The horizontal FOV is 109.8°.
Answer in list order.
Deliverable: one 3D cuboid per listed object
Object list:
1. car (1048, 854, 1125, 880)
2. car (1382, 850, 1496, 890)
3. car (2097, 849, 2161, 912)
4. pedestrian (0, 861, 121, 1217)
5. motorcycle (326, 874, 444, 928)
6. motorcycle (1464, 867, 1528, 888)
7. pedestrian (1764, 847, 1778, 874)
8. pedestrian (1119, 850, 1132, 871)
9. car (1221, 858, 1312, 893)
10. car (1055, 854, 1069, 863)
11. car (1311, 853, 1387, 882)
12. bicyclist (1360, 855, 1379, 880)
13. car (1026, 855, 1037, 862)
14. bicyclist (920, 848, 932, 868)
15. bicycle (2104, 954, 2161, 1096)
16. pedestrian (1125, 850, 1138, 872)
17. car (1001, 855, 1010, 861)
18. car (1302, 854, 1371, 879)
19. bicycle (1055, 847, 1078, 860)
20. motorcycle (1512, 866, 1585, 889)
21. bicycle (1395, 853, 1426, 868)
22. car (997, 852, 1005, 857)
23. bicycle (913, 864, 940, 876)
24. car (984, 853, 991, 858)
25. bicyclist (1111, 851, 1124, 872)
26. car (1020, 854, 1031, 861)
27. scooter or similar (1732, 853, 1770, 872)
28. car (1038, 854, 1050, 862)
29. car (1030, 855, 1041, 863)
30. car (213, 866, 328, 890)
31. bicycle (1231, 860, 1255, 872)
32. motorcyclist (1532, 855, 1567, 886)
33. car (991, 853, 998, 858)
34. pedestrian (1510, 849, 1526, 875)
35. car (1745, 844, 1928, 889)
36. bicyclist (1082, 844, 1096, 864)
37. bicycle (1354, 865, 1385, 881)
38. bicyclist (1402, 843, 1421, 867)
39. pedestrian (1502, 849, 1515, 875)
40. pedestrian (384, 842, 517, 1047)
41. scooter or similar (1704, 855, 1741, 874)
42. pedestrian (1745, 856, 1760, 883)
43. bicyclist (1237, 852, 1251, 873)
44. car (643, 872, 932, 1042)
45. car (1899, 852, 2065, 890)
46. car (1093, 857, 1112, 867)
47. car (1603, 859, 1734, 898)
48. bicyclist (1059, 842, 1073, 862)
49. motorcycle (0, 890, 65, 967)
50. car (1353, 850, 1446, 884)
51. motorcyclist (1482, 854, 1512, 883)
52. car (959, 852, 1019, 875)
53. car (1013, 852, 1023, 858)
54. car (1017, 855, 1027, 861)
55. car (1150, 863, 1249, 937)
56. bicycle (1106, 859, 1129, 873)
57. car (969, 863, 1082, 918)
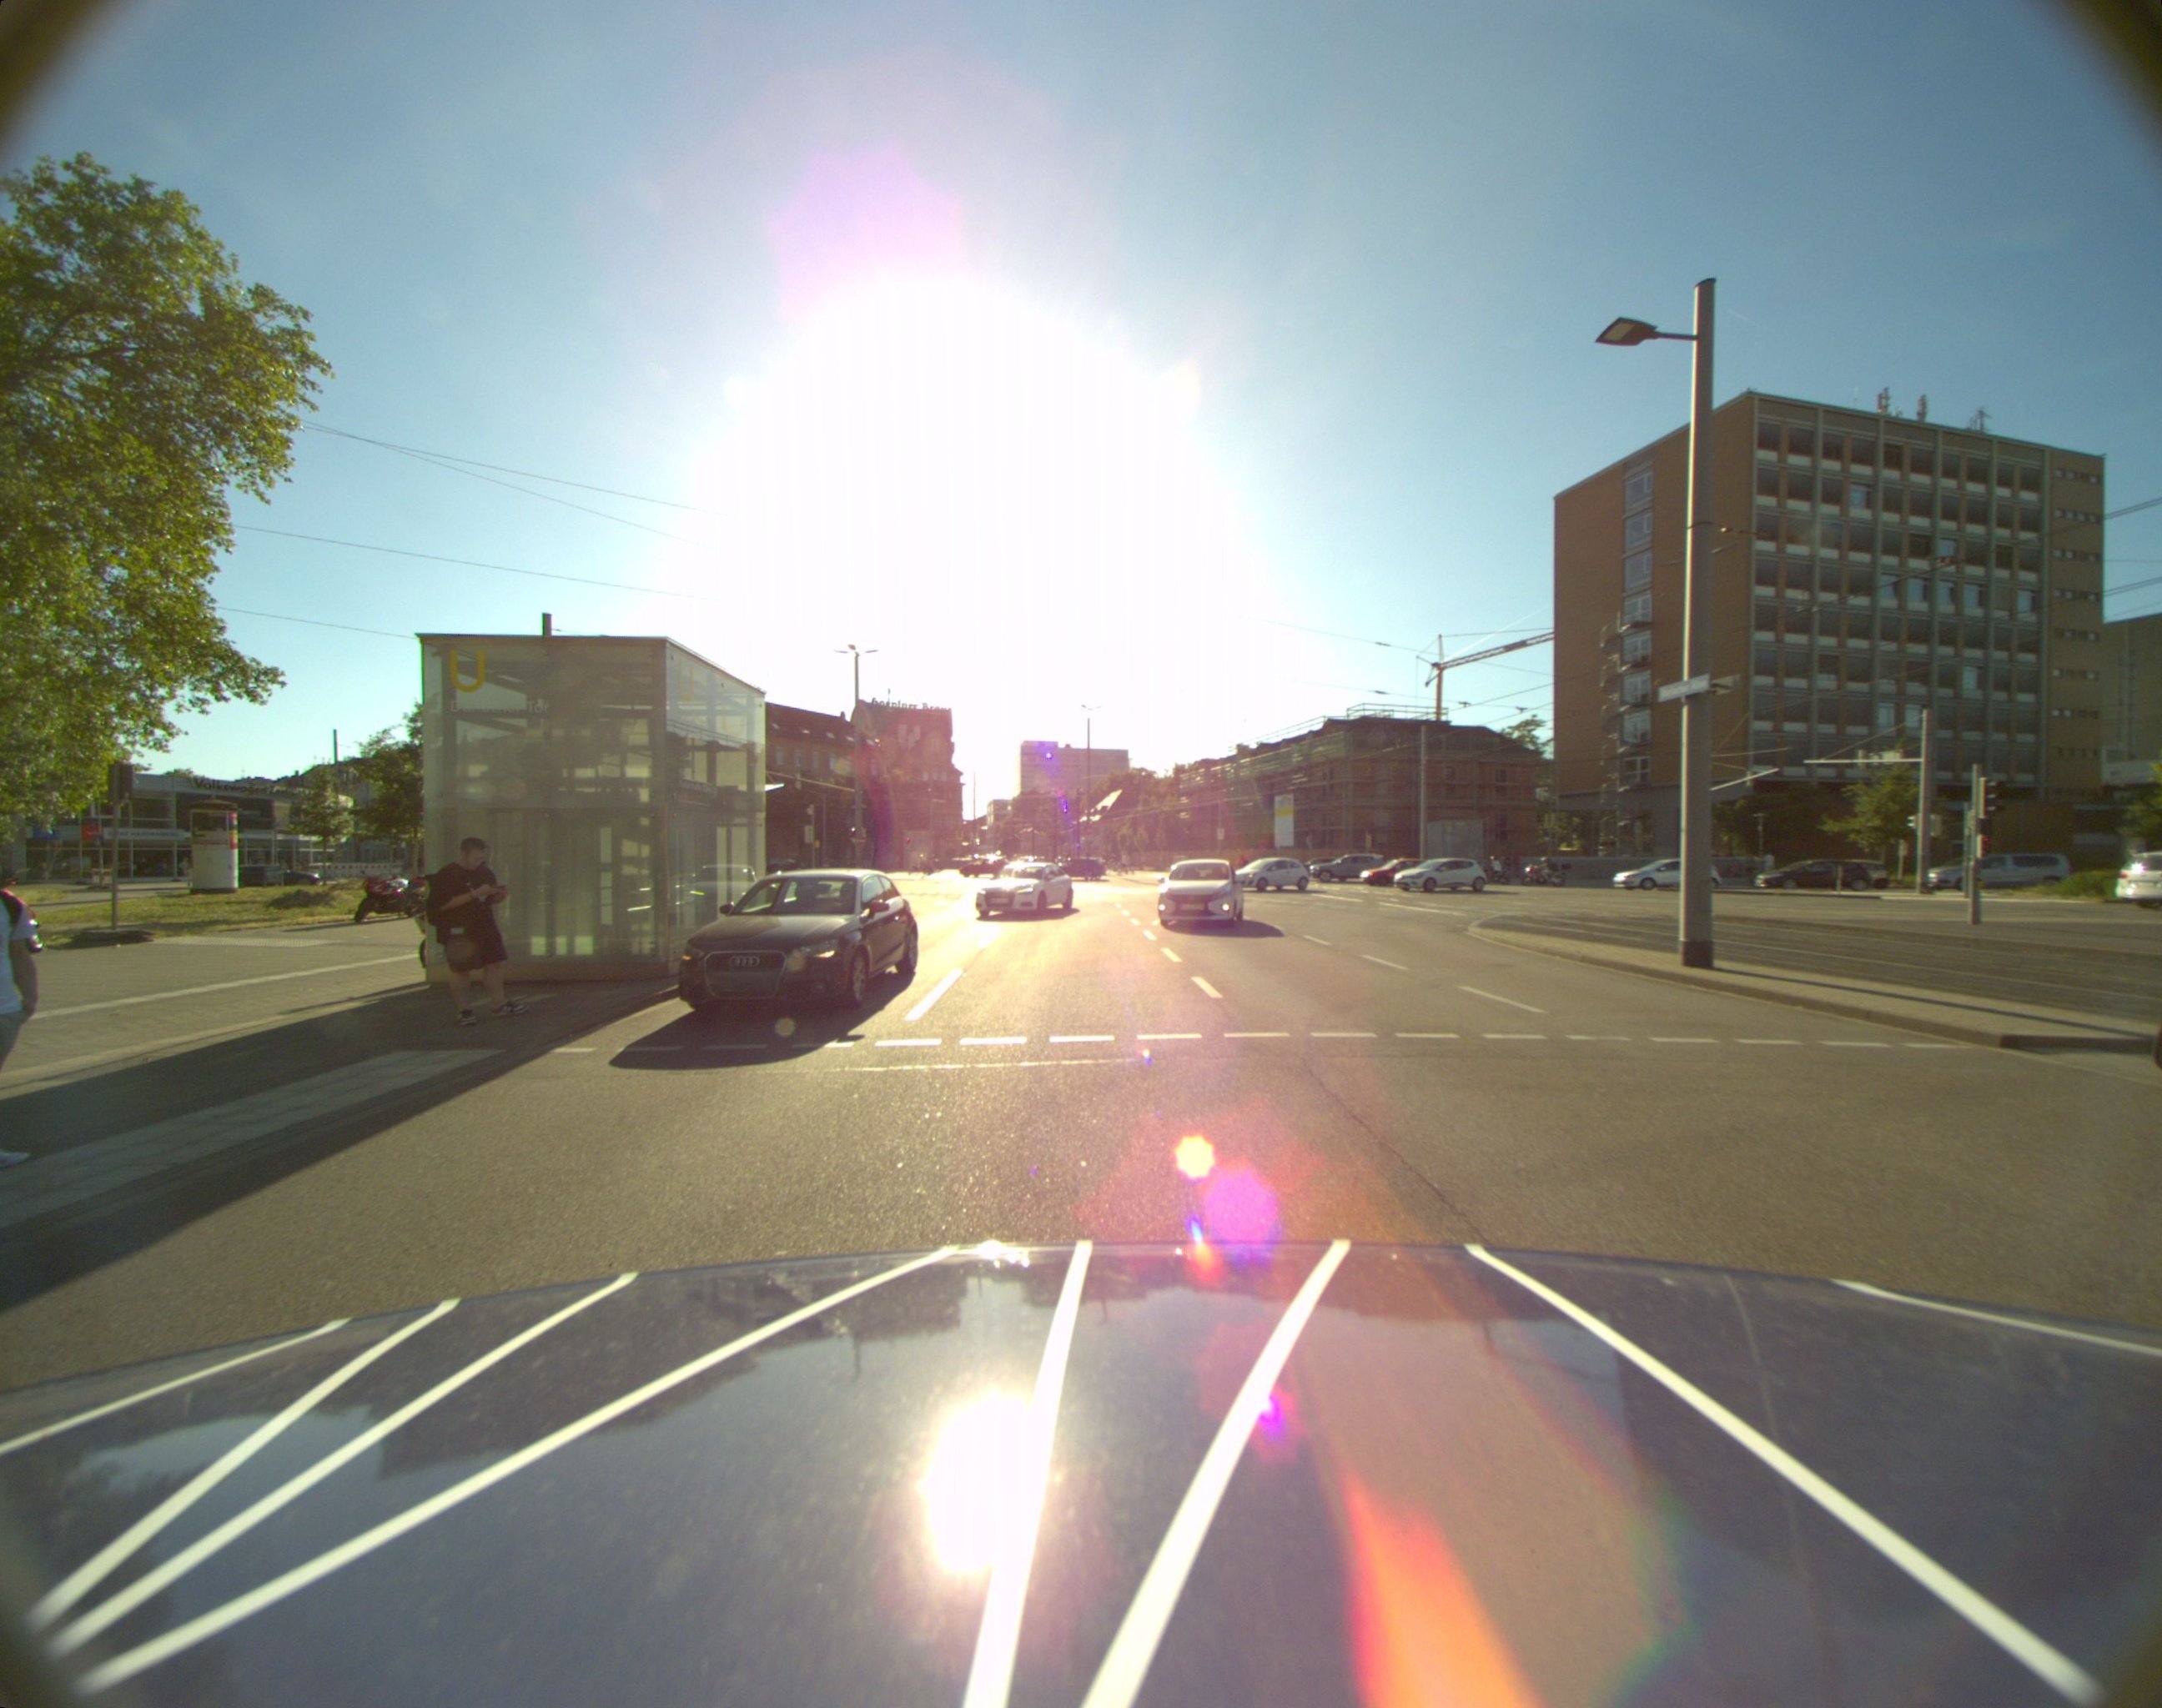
[{"bbox_3d":[0.361,0.856,49.559,4.644,1.484,1.819,-1,4,19],"label":"car"},{"bbox_3d":[15.961,0.685,33.950,4.284,1.666,1.998,-1,1,-12],"label":"car"},{"bbox_3d":[32.154,0.752,21.147,4.456,1.723,1.943,1,1,12],"label":"car"},{"bbox_3d":[-5.653,0.902,3.816,0.698,1.718,0.752,-1,1,-17],"label":"pedestrian"},{"bbox_3d":[-15.645,1.035,17.182,1.041,1.067,2.279,1,0,-16],"label":"motorcycle"},{"bbox_3d":[24.474,1.399,44.909,3.225,1.187,1.120,0,-2,20],"label":"motorcycle"},{"bbox_3d":[44.333,0.437,48.827,0.623,1.701,0.487,0,-2,34],"label":"pedestrian"},{"bbox_3d":[3.852,0.556,65.991,0.693,1.837,0.817,2,-2,-45],"label":"pedestrian"},{"bbox_3d":[8.551,0.933,34.917,3.922,1.455,1.780,-1,1,-31],"label":"car"},{"bbox_3d":[-3.418,0.866,134.802,1.757,1.455,4.015,-1,-1,-13],"label":"car"},{"bbox_3d":[15.480,0.775,44.112,3.992,1.597,2.002,-2,0,15],"label":"car"},{"bbox_3d":[19.736,0.922,51.976,1.014,1.579,0.695,3,5,42],"label":"bicyclist"},{"bbox_3d":[-10.758,1.013,164.018,1.757,1.455,4.015,-1,-1,-13],"label":"car"},{"bbox_3d":[-12.920,0.333,63.359,0.975,1.685,0.767,1,0,-7],"label":"bicyclist"},{"bbox_3d":[8.384,1.208,5.173,1.894,0.936,0.815,1,1,-6],"label":"bicycle"},{"bbox_3d":[4.437,0.628,66.526,0.693,1.837,0.817,2,-2,-45],"label":"pedestrian"},{"bbox_3d":[-20.505,1.096,205.871,1.757,1.596,4.015,-1,-1,-13],"label":"car"},{"bbox_3d":[16.102,0.759,48.003,4.011,1.455,1.758,-1,0,17],"label":"car"},{"bbox_3d":[-1.225,-0.038,64.241,1.902,1.021,0.649,0,0,24],"label":"bicycle"},{"bbox_3d":[25.526,1.279,41.549,3.225,1.187,1.120,0,-2,20],"label":"motorcycle"},{"bbox_3d":[23.078,0.467,53.207,1.874,0.965,0.713,2,5,38],"label":"bicycle"},{"bbox_3d":[-22.951,0.139,217.091,1.757,1.455,4.015,-1,-1,-13],"label":"car"},{"bbox_3d":[-12.897,1.348,63.359,2.105,1.021,0.767,1,0,-7],"label":"bicycle"},{"bbox_3d":[-30.805,0.490,249.339,1.757,1.455,4.015,-1,-1,-13],"label":"car"},{"bbox_3d":[2.929,0.612,61.065,0.974,1.651,0.648,1,-2,2],"label":"bicyclist"},{"bbox_3d":[-12.598,0.765,171.832,1.757,1.455,4.015,-1,-1,-13],"label":"car"},{"bbox_3d":[44.569,0.558,50.542,0.802,1.239,1.824,2,-3,-42],"label":"scooter or similar"},{"bbox_3d":[-7.549,0.873,153.733,1.757,1.455,4.015,-1,-1,-13],"label":"car"},{"bbox_3d":[-9.542,1.056,159.050,1.757,1.455,4.015,-1,-1,-13],"label":"car"},{"bbox_3d":[-46.668,1.420,43.874,1.750,1.328,4.175,0,-2,21],"label":"car"},{"bbox_3d":[13.490,0.995,63.126,1.875,0.965,0.713,1,4,20],"label":"bicycle"},{"bbox_3d":[25.606,0.929,41.537,1.451,1.657,1.120,0,-2,20],"label":"motorcyclist"},{"bbox_3d":[-26.665,0.358,233.436,1.757,1.455,4.015,-1,-1,-13],"label":"car"},{"bbox_3d":[29.875,0.562,51.945,0.732,1.730,0.622,0,2,10],"label":"pedestrian"},{"bbox_3d":[35.036,0.610,35.469,5.753,2.001,2.004,0,-2,20],"label":"car"},{"bbox_3d":[0.624,0.027,60.308,0.973,1.559,0.649,0,-2,15],"label":"bicyclist"},{"bbox_3d":[19.745,1.281,52.002,1.874,0.965,0.713,3,5,42],"label":"bicycle"},{"bbox_3d":[23.103,0.055,53.154,1.014,1.579,0.695,3,5,38],"label":"bicyclist"},{"bbox_3d":[29.183,0.544,51.816,0.620,1.730,0.667,2,3,41],"label":"pedestrian"},{"bbox_3d":[-5.691,0.754,6.921,0.796,1.718,0.868,-1,1,-32],"label":"pedestrian"},{"bbox_3d":[42.844,0.707,50.756,0.801,1.239,1.704,2,-2,-28],"label":"scooter or similar"},{"bbox_3d":[40.744,0.965,46.091,0.504,1.625,0.428,1,-2,7],"label":"pedestrian"},{"bbox_3d":[13.517,0.671,63.087,1.014,1.699,0.695,1,4,21],"label":"bicyclist"},{"bbox_3d":[-3.036,0.977,8.797,1.694,1.380,3.832,-3,0,2],"label":"car"},{"bbox_3d":[42.425,0.809,35.918,4.697,1.673,2.004,0,-2,18],"label":"car"},{"bbox_3d":[3.069,1.178,110.751,1.757,1.455,4.015,-1,-1,-13],"label":"car"},{"bbox_3d":[26.691,1.080,34.692,4.275,1.666,2.002,0,1,15],"label":"car"},{"bbox_3d":[-1.245,-0.134,64.242,0.972,1.685,0.649,1,0,23],"label":"bicyclist"},{"bbox_3d":[-15.834,1.097,10.612,0.880,1.040,1.803,1,2,-3],"label":"motorcycle"},{"bbox_3d":[16.605,0.720,39.726,3.998,1.673,2.000,1,-2,-4],"label":"car"},{"bbox_3d":[24.559,0.856,44.885,1.451,1.657,1.120,0,-2,20],"label":"motorcyclist"},{"bbox_3d":[-6.804,0.689,56.204,4.009,1.456,1.758,1,5,20],"label":"car"},{"bbox_3d":[-15.383,0.267,185.758,1.757,1.455,4.015,-1,-1,-13],"label":"car"},{"bbox_3d":[-13.685,0.932,176.619,1.757,1.455,4.015,-1,-1,-13],"label":"car"},{"bbox_3d":[2.859,0.973,17.653,1.718,1.483,3.876,1,-1,17],"label":"car"},{"bbox_3d":[2.928,0.952,61.060,1.774,1.116,0.648,1,-2,2],"label":"bicycle"},{"bbox_3d":[-1.455,0.971,21.755,1.823,1.380,4.463,-2,-1,15],"label":"car"}]
